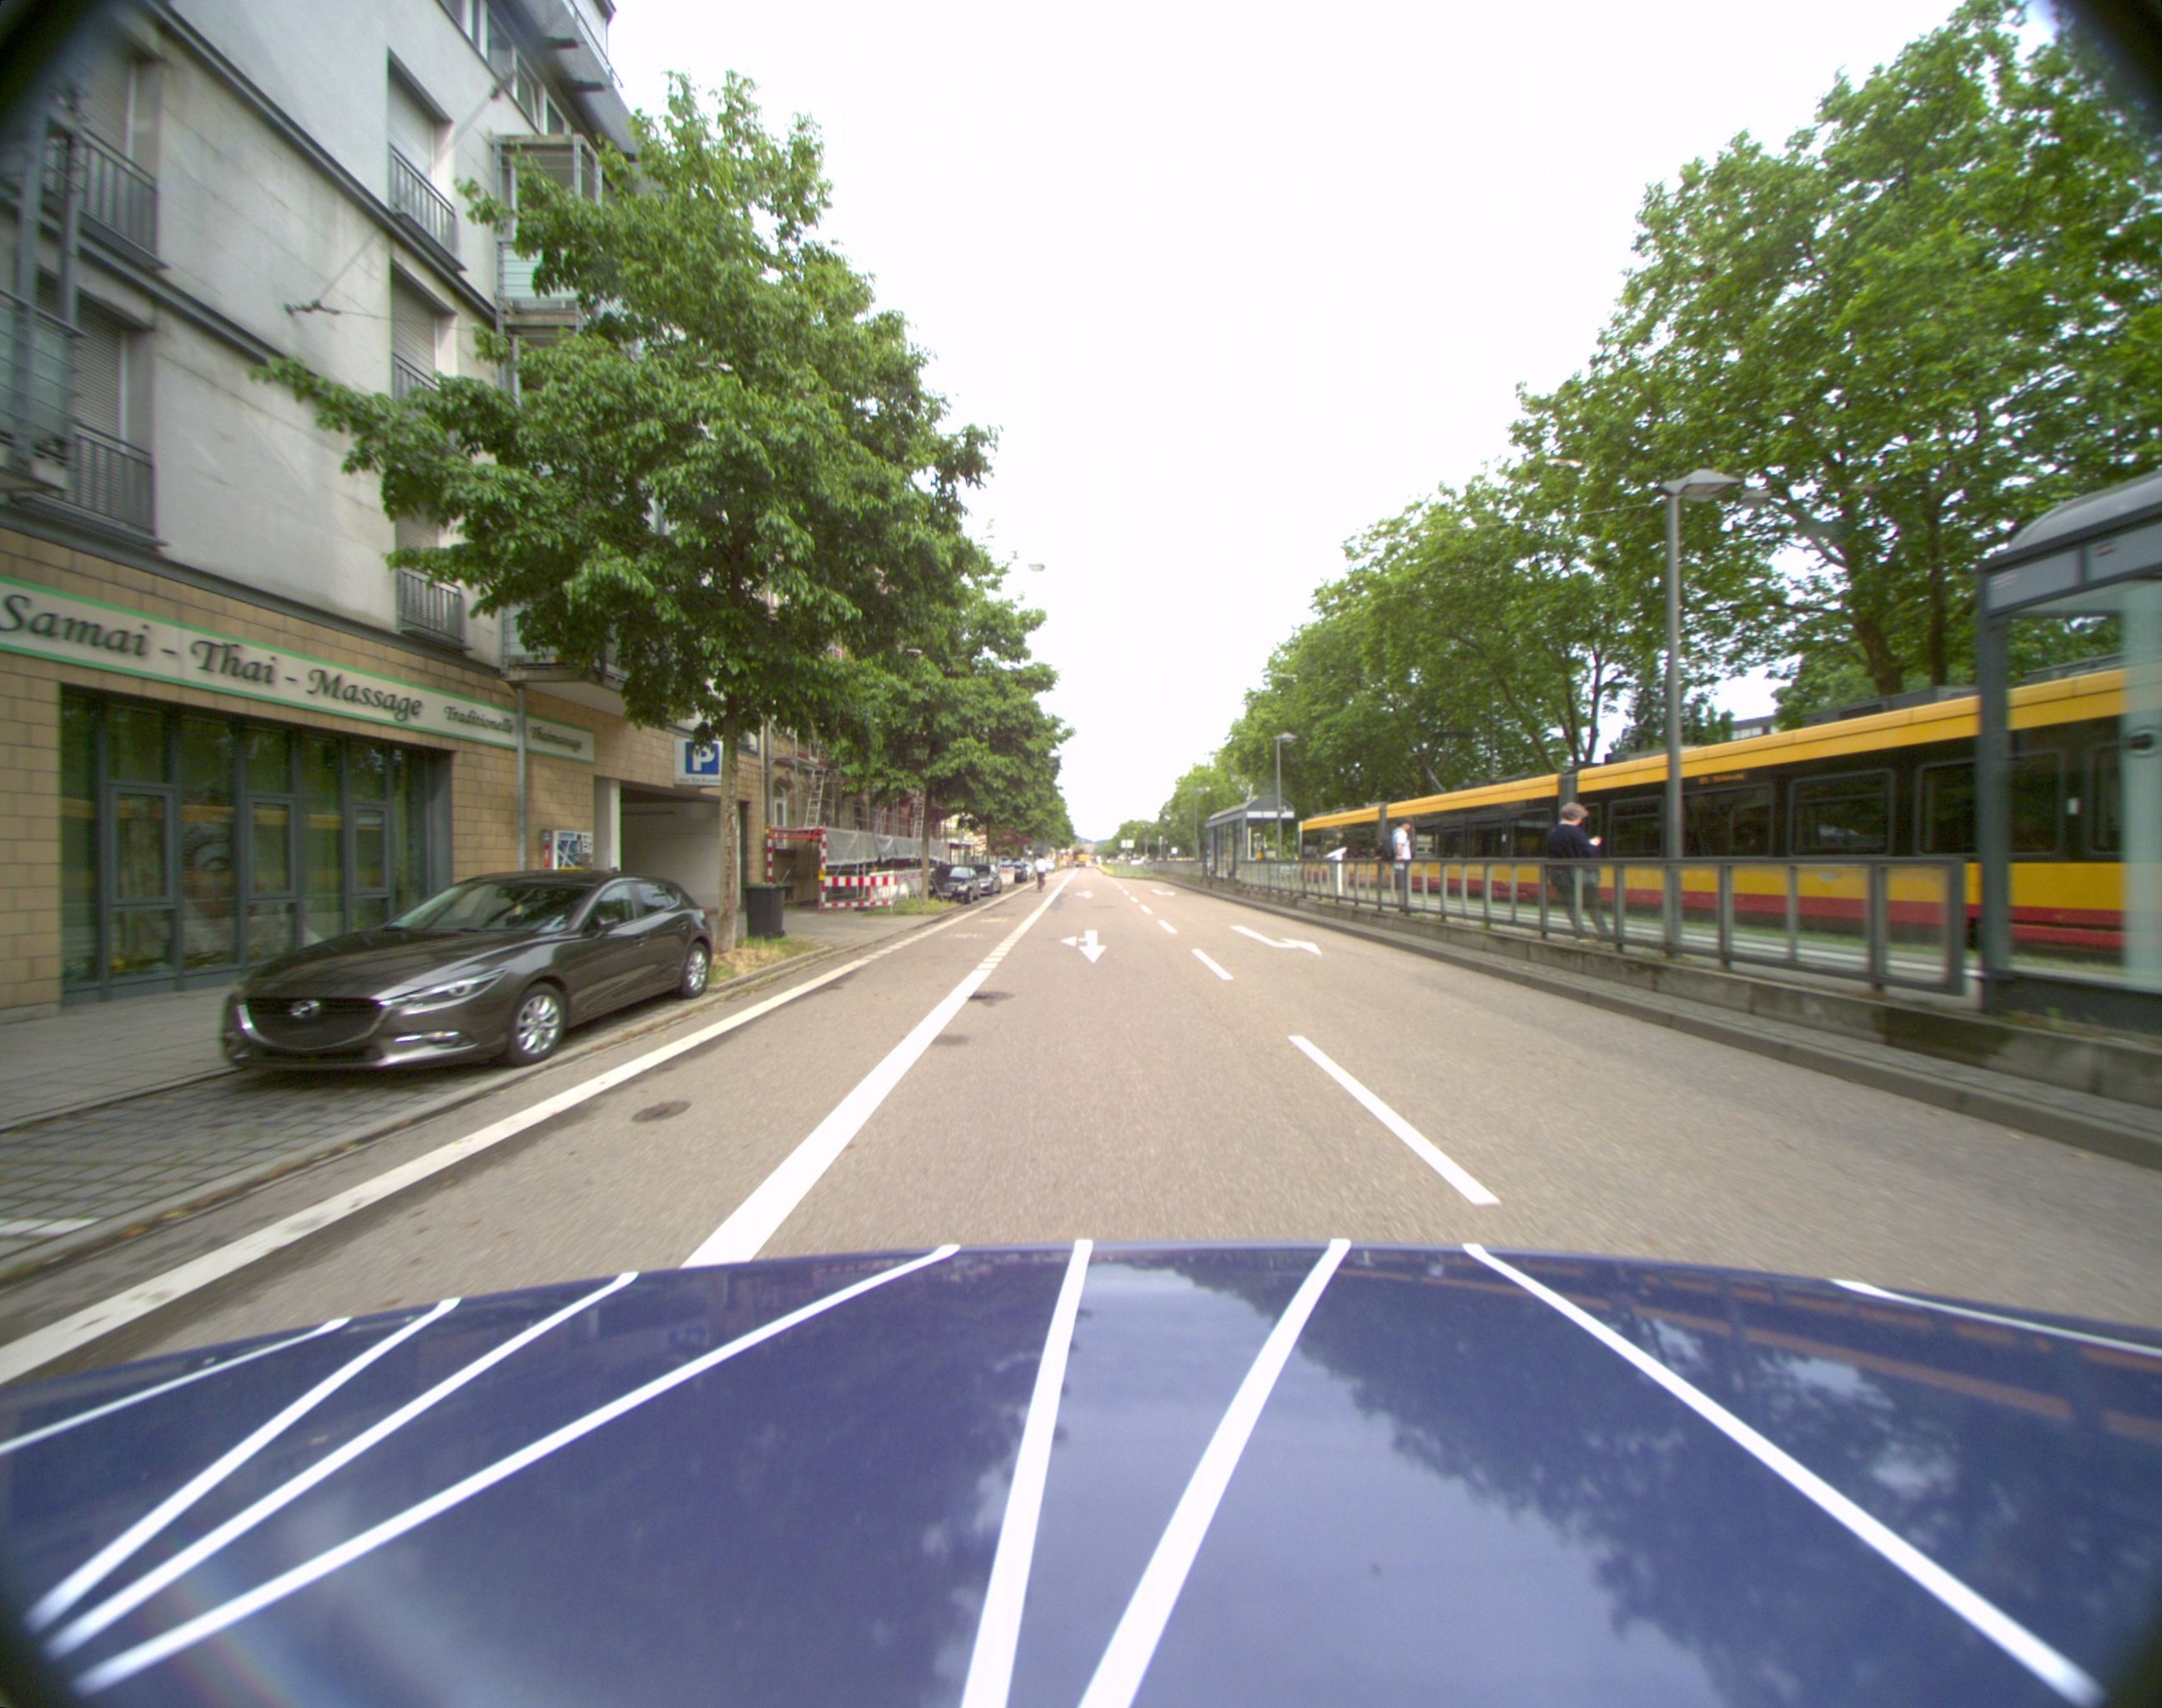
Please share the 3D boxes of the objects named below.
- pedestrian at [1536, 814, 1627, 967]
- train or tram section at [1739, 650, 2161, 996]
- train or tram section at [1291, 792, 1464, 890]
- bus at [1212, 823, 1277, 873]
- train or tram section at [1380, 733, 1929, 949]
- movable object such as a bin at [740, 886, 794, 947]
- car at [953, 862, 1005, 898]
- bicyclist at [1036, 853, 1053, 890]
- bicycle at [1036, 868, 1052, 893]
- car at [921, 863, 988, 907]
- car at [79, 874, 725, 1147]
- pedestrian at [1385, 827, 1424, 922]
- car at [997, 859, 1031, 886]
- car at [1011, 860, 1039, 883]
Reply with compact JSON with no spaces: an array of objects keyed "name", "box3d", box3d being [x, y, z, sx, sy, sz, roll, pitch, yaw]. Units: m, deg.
[{"name":"pedestrian","box3d":[5.555,0.390,8.472,0.513,1.623,0.730,-2,0,2]},{"name":"train or tram section","box3d":[12.471,-0.352,5.043,3.067,3.511,15.295,-2,0,1]},{"name":"train or tram section","box3d":[12.842,-0.485,34.730,3.100,3.541,12.539,-2,0,1]},{"name":"bus","box3d":[7.050,-0.261,33.173,1.998,2.002,4.000,-2,0,1]},{"name":"train or tram section","box3d":[12.668,-0.220,20.568,3.067,3.511,15.772,-2,0,1]},{"name":"movable object such as a bin","box3d":[-5.705,1.128,13.827,0.764,1.048,0.541,1,0,0]},{"name":"car","box3d":[-4.550,1.137,34.417,1.755,1.452,4.280,1,0,0]},{"name":"bicyclist","box3d":[-1.789,0.862,37.240,0.751,1.776,0.838,-2,0,1]},{"name":"bicycle","box3d":[-1.773,1.254,36.748,0.613,1.116,2.050,-2,0,1]},{"name":"car","box3d":[-4.674,1.110,28.625,1.755,1.452,4.280,1,0,0]},{"name":"car","box3d":[-5.060,0.993,6.712,1.802,1.447,4.388,2,0,-1]},{"name":"pedestrian","box3d":[5.648,0.350,13.279,0.480,1.623,0.392,-2,1,2]},{"name":"car","box3d":[-4.410,1.194,50.760,1.837,1.720,4.280,1,0,0]},{"name":"car","box3d":[-4.399,1.325,60.053,1.837,1.685,3.762,1,0,0]}]
